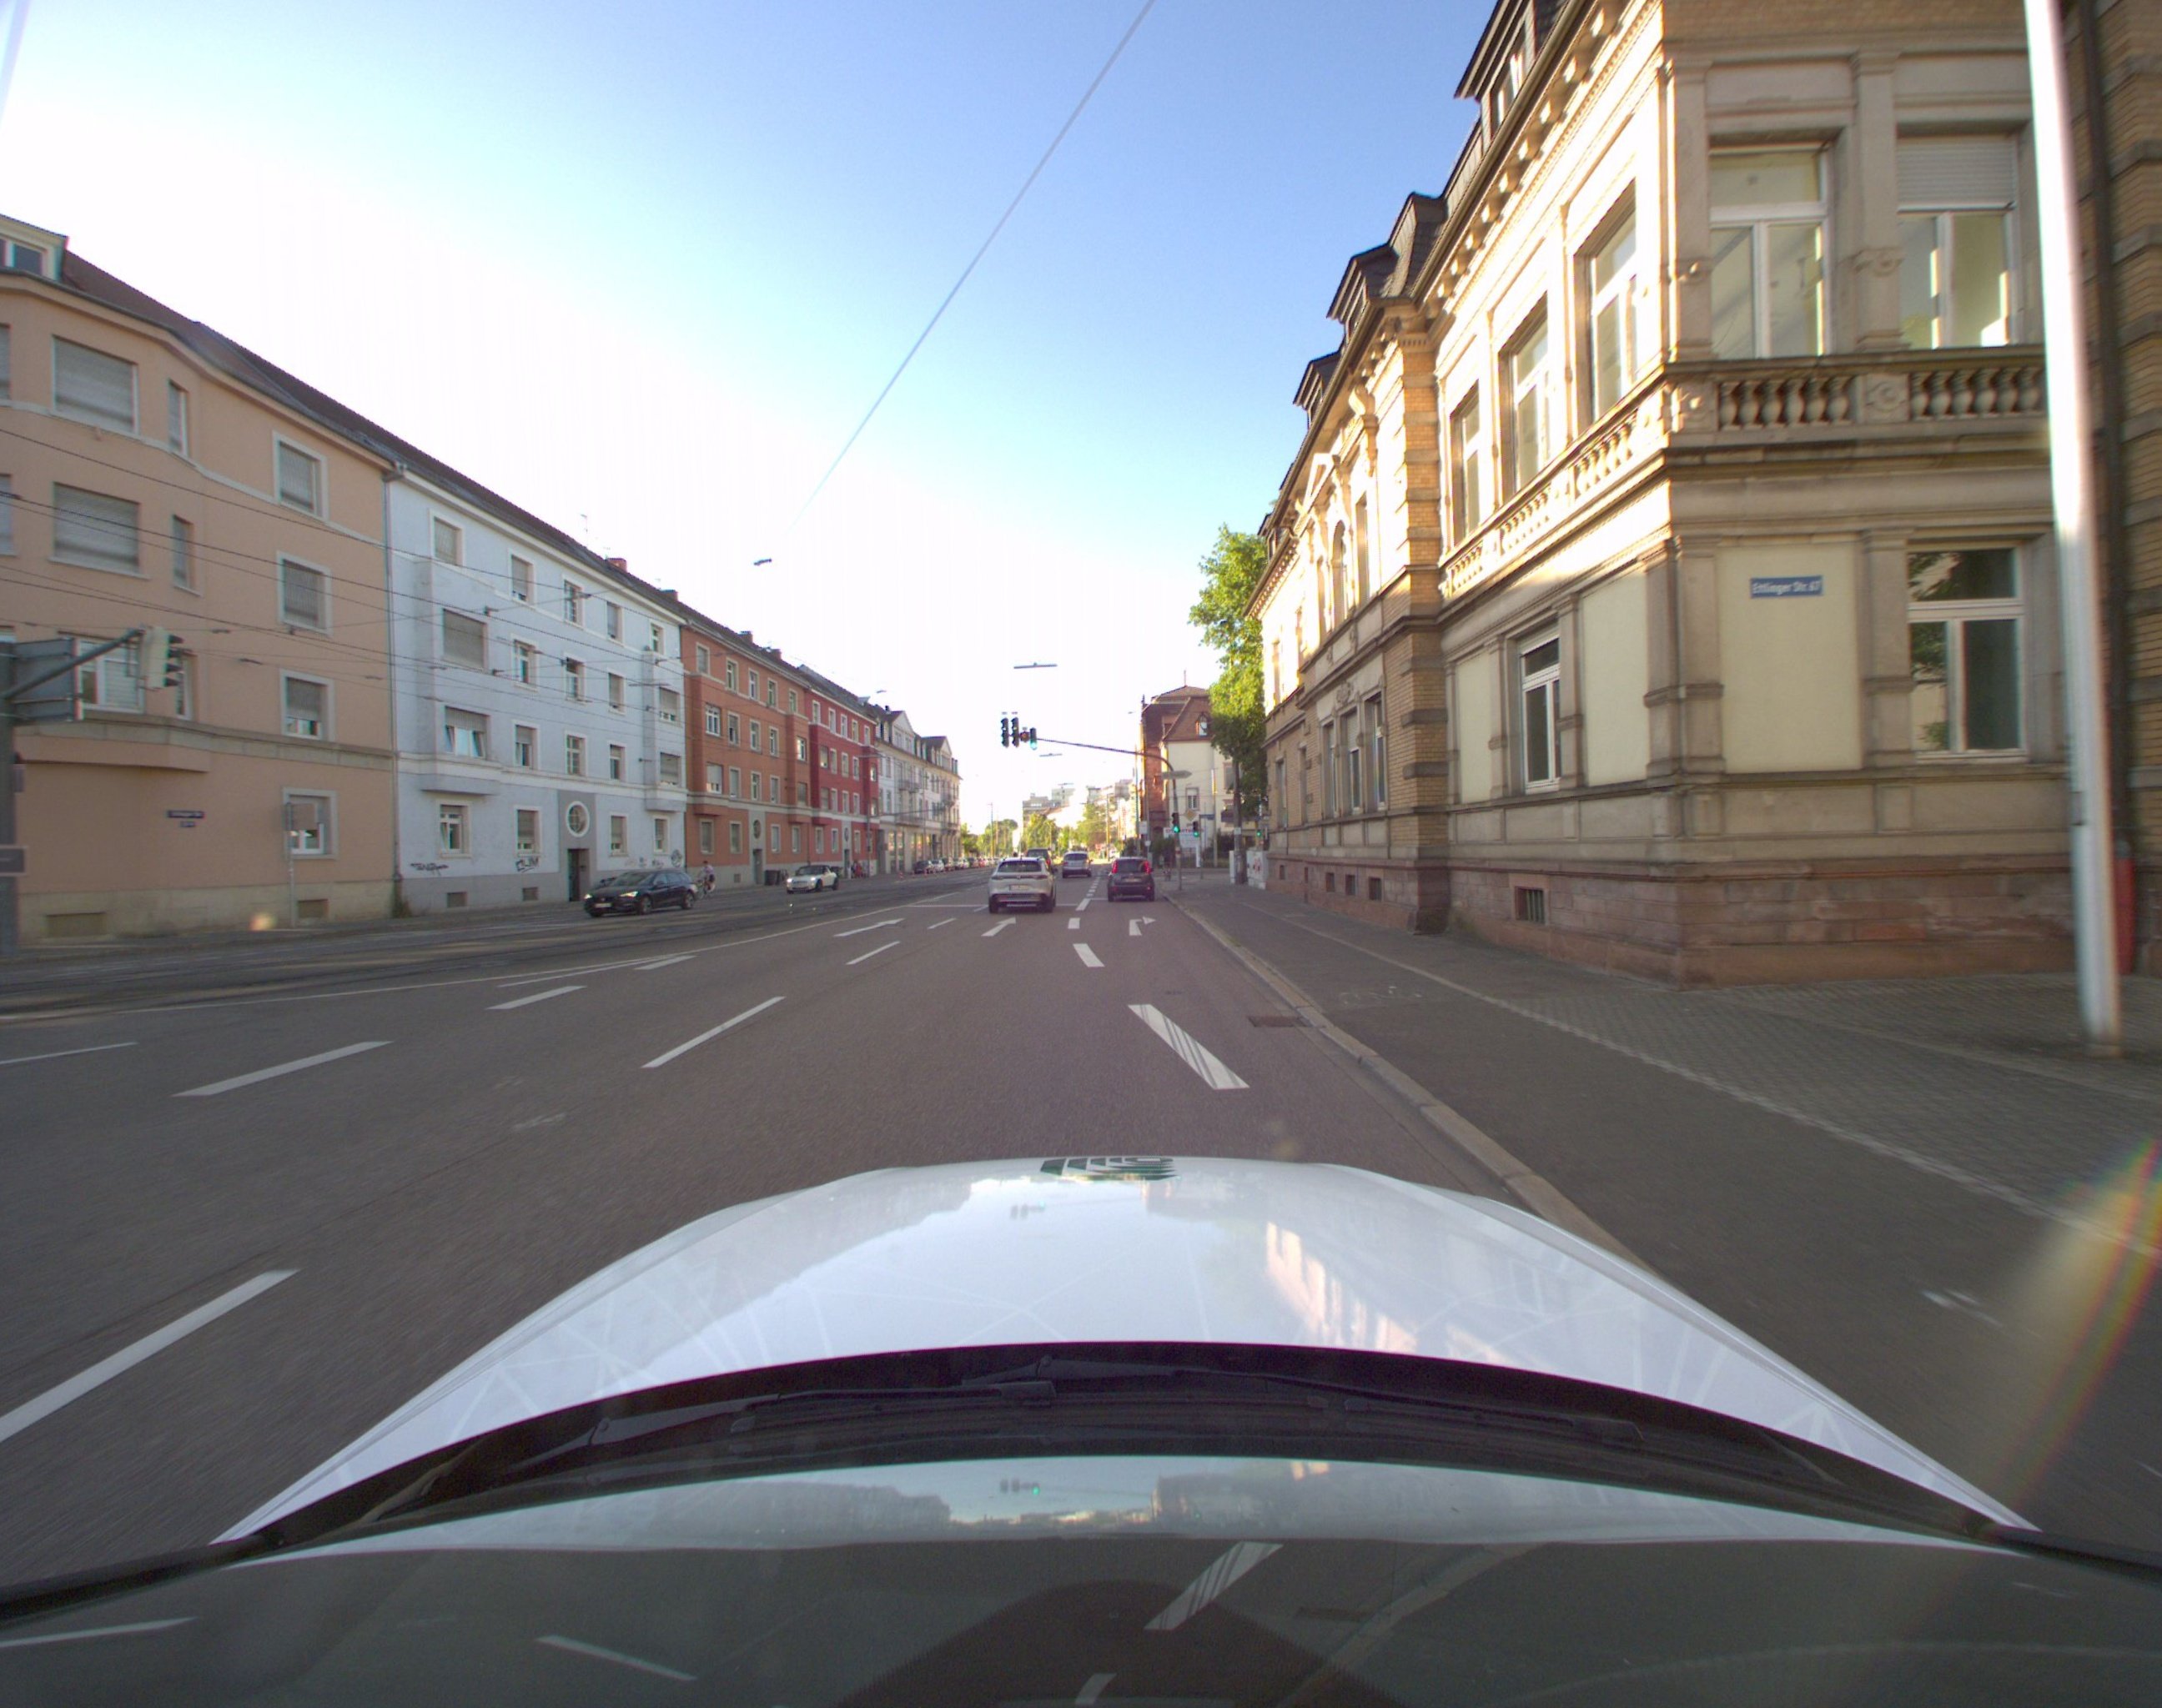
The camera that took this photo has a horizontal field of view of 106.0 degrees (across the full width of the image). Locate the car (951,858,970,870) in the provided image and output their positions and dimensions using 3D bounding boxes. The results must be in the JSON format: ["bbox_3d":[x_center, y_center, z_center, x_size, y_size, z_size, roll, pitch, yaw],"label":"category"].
[{"bbox_3d":[-16.290,1.356,110.044,1.712,1.552,4.002,-2,0,2],"label":"car"}]

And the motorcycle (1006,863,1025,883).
[{"bbox_3d":[-3.604,1.041,45.293,0.774,1.082,2.282,-1,0,2],"label":"motorcycle"}]

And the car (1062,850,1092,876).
[{"bbox_3d":[-0.216,0.580,52.439,1.807,1.582,4.001,-1,0,2],"label":"car"}]

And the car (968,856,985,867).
[{"bbox_3d":[-15.496,1.113,121.069,1.712,1.552,4.002,-2,0,2],"label":"car"}]

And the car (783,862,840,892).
[{"bbox_3d":[-13.970,1.168,42.377,1.720,1.375,3.535,-2,0,1],"label":"car"}]

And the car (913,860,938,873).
[{"bbox_3d":[-16.669,1.322,87.587,1.712,1.232,4.002,-2,0,2],"label":"car"}]

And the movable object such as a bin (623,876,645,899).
[{"bbox_3d":[-21.542,1.614,39.282,0.699,1.106,0.583,-1,0,2],"label":"movable object such as a bin"}]

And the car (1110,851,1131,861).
[{"bbox_3d":[8.389,0.380,173.024,4.255,2.013,1.995,-1,0,-7],"label":"car"}]

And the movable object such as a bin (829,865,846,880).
[{"bbox_3d":[-20.292,1.552,67.979,0.865,1.249,1.236,-2,0,8],"label":"movable object such as a bin"}]

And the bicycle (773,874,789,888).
[{"bbox_3d":[-20.904,1.877,56.814,0.333,0.890,1.607,-2,0,7],"label":"bicycle"}]

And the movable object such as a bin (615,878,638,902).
[{"bbox_3d":[-21.561,1.691,38.628,0.699,1.106,0.649,-1,0,2],"label":"movable object such as a bin"}]

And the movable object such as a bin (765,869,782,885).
[{"bbox_3d":[-20.646,1.520,54.626,0.841,1.040,0.811,-1,0,-2],"label":"movable object such as a bin"}]

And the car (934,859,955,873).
[{"bbox_3d":[-16.415,1.398,98.125,1.712,1.552,3.858,-2,0,2],"label":"car"}]

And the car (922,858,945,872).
[{"bbox_3d":[-16.816,1.227,93.180,1.712,1.452,4.002,-2,0,2],"label":"car"}]

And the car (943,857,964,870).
[{"bbox_3d":[-16.423,1.183,104.905,1.828,1.552,4.276,-2,0,2],"label":"car"}]

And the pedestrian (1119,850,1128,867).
[{"bbox_3d":[4.404,0.469,84.705,0.872,1.824,1.185,-1,0,3],"label":"pedestrian"}]

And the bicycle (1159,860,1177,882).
[{"bbox_3d":[4.516,0.876,42.475,0.768,1.086,1.871,-1,0,1],"label":"bicycle"}]

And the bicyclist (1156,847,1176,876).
[{"bbox_3d":[4.463,0.397,42.707,0.832,1.525,0.992,-1,0,-4],"label":"bicyclist"}]

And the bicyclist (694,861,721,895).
[{"bbox_3d":[-18.493,1.173,40.340,0.743,1.643,1.126,-1,0,2],"label":"bicyclist"}]

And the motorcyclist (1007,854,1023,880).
[{"bbox_3d":[-3.673,0.711,45.237,0.774,1.423,0.891,-1,0,1],"label":"motorcyclist"}]

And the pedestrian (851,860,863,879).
[{"bbox_3d":[-19.532,1.383,70.996,0.835,1.633,0.786,-1,0,-36],"label":"pedestrian"}]

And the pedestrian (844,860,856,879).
[{"bbox_3d":[-19.753,1.322,69.647,0.786,1.633,0.658,-1,0,20],"label":"pedestrian"}]

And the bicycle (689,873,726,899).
[{"bbox_3d":[-18.474,1.572,40.319,0.743,1.191,2.153,-1,0,2],"label":"bicycle"}]

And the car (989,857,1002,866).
[{"bbox_3d":[-15.128,1.263,144.948,1.712,1.552,4.002,-2,0,2],"label":"car"}]

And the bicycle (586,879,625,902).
[{"bbox_3d":[-21.640,1.645,37.117,0.603,0.980,1.878,0,0,2],"label":"bicycle"}]

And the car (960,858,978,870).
[{"bbox_3d":[-15.787,1.349,115.111,1.712,1.552,4.002,-2,0,2],"label":"car"}]

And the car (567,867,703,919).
[{"bbox_3d":[-14.724,1.229,27.226,1.915,1.455,4.500,-1,0,2],"label":"car"}]

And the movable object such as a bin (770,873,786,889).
[{"bbox_3d":[-20.653,1.820,55.523,0.841,1.040,0.811,-1,0,-2],"label":"movable object such as a bin"}]

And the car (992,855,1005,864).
[{"bbox_3d":[-15.303,0.991,150.972,1.712,1.552,4.002,-2,0,2],"label":"car"}]

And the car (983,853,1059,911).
[{"bbox_3d":[-1.670,0.742,23.949,1.941,1.528,4.089,-1,0,0],"label":"car"}]

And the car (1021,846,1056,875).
[{"bbox_3d":[-3.113,0.470,61.256,2.164,2.009,4.810,-2,0,2],"label":"car"}]

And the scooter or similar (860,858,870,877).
[{"bbox_3d":[-19.243,1.185,72.553,0.657,1.633,0.788,-1,0,-30],"label":"scooter or similar"}]

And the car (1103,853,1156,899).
[{"bbox_3d":[1.815,0.747,29.279,1.722,1.500,4.006,-1,0,5],"label":"car"}]
